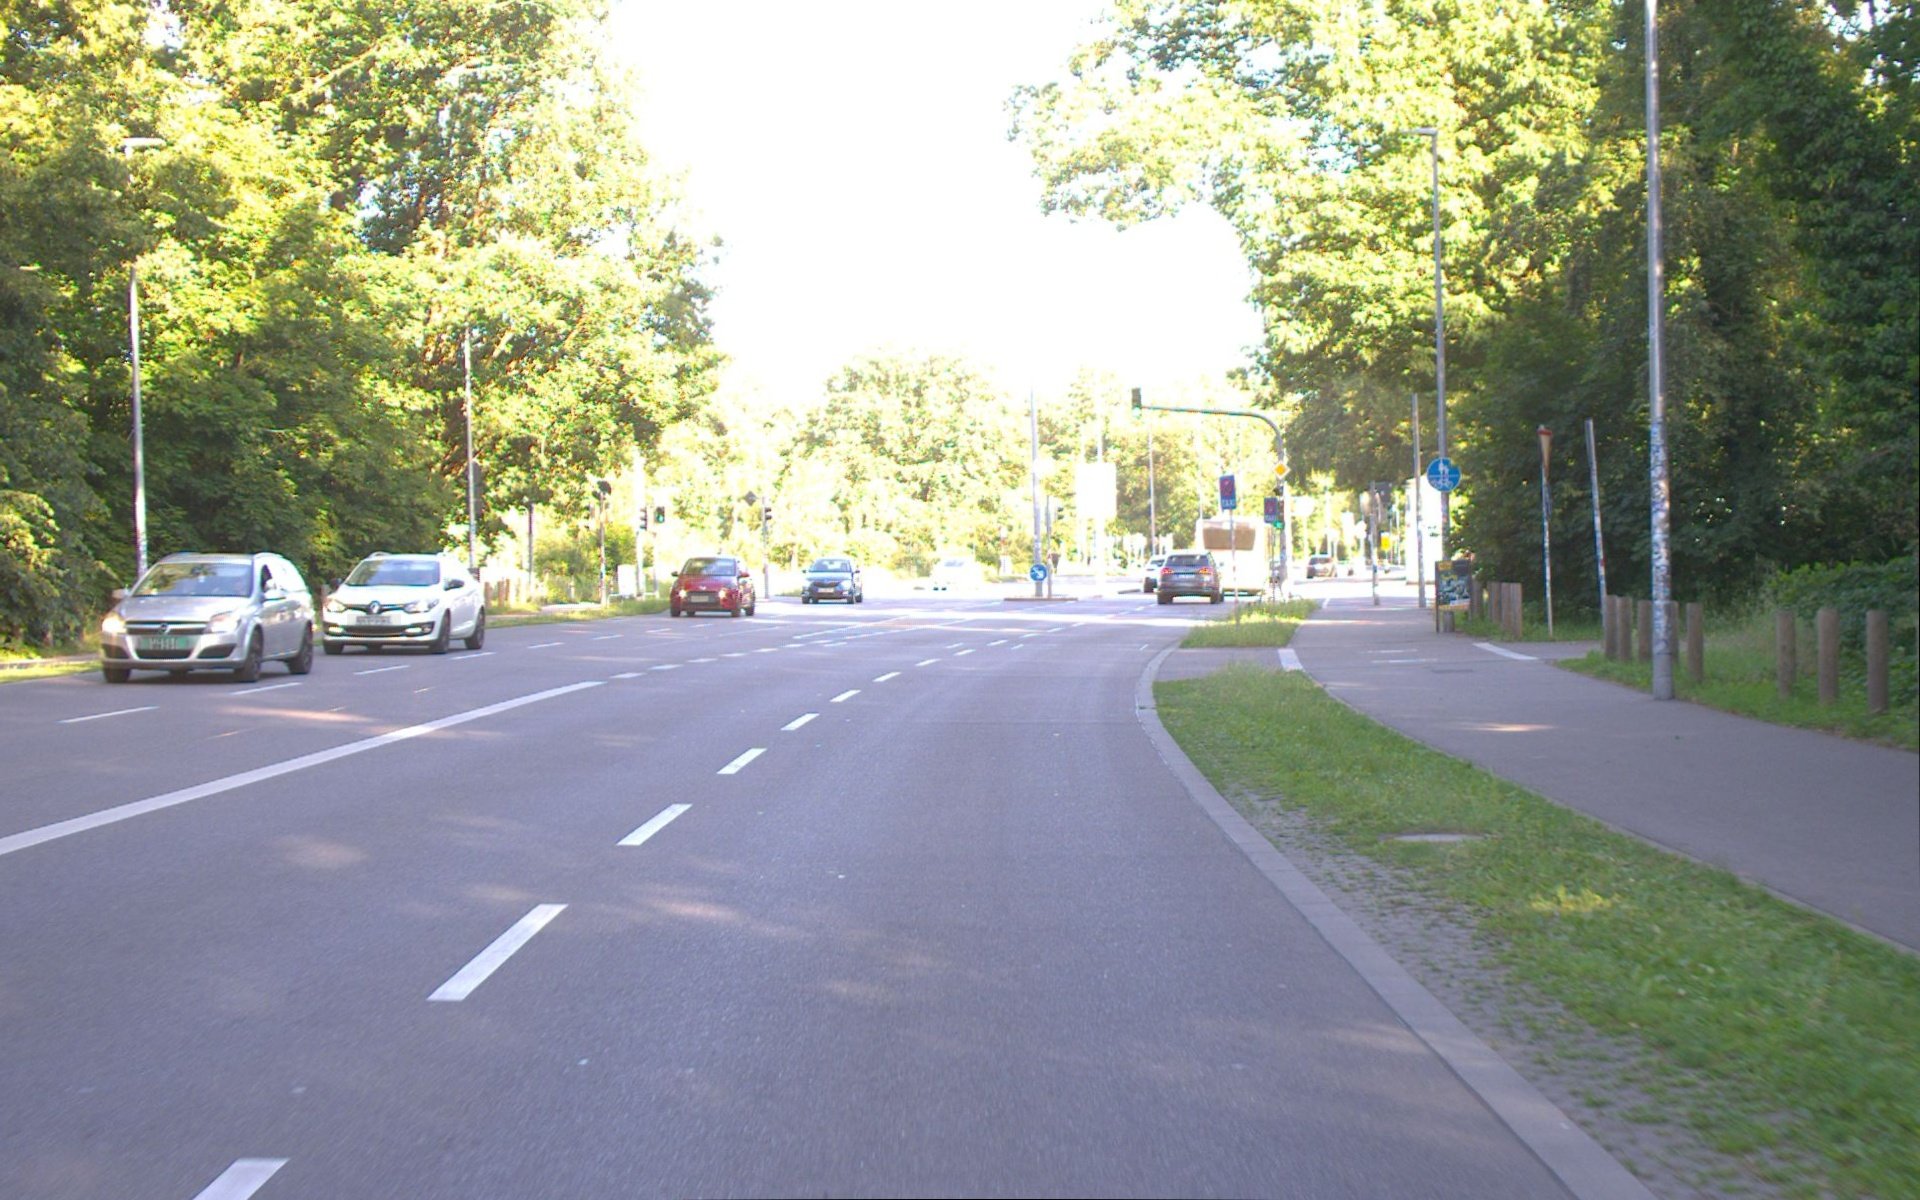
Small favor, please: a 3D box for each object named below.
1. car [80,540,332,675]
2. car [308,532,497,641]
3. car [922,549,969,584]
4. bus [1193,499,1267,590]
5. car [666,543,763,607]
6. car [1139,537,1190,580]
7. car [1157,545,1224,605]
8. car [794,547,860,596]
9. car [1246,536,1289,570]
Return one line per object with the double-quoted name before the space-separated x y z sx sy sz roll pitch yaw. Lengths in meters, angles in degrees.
"car" -8.700 0.057 40.016 1.780 1.459 4.274 1 1 3
"car" -8.197 -0.232 50.874 1.783 1.517 4.397 0 1 4
"car" -0.624 -1.462 148.557 1.711 1.459 4.100 1 1 4
"bus" 10.360 -2.131 131.417 2.605 3.357 7.974 0 1 6
"car" -5.943 -0.628 83.683 1.663 1.513 3.806 -1 1 7
"car" 8.557 -1.750 143.694 1.880 1.759 3.999 -1 1 6
"car" 7.145 -0.793 106.187 1.880 1.759 3.999 -1 1 6
"car" -4.249 -0.933 110.421 1.656 1.503 3.999 -1 1 5
"car" 16.156 -2.486 180.519 1.864 1.678 3.771 -1 1 10
